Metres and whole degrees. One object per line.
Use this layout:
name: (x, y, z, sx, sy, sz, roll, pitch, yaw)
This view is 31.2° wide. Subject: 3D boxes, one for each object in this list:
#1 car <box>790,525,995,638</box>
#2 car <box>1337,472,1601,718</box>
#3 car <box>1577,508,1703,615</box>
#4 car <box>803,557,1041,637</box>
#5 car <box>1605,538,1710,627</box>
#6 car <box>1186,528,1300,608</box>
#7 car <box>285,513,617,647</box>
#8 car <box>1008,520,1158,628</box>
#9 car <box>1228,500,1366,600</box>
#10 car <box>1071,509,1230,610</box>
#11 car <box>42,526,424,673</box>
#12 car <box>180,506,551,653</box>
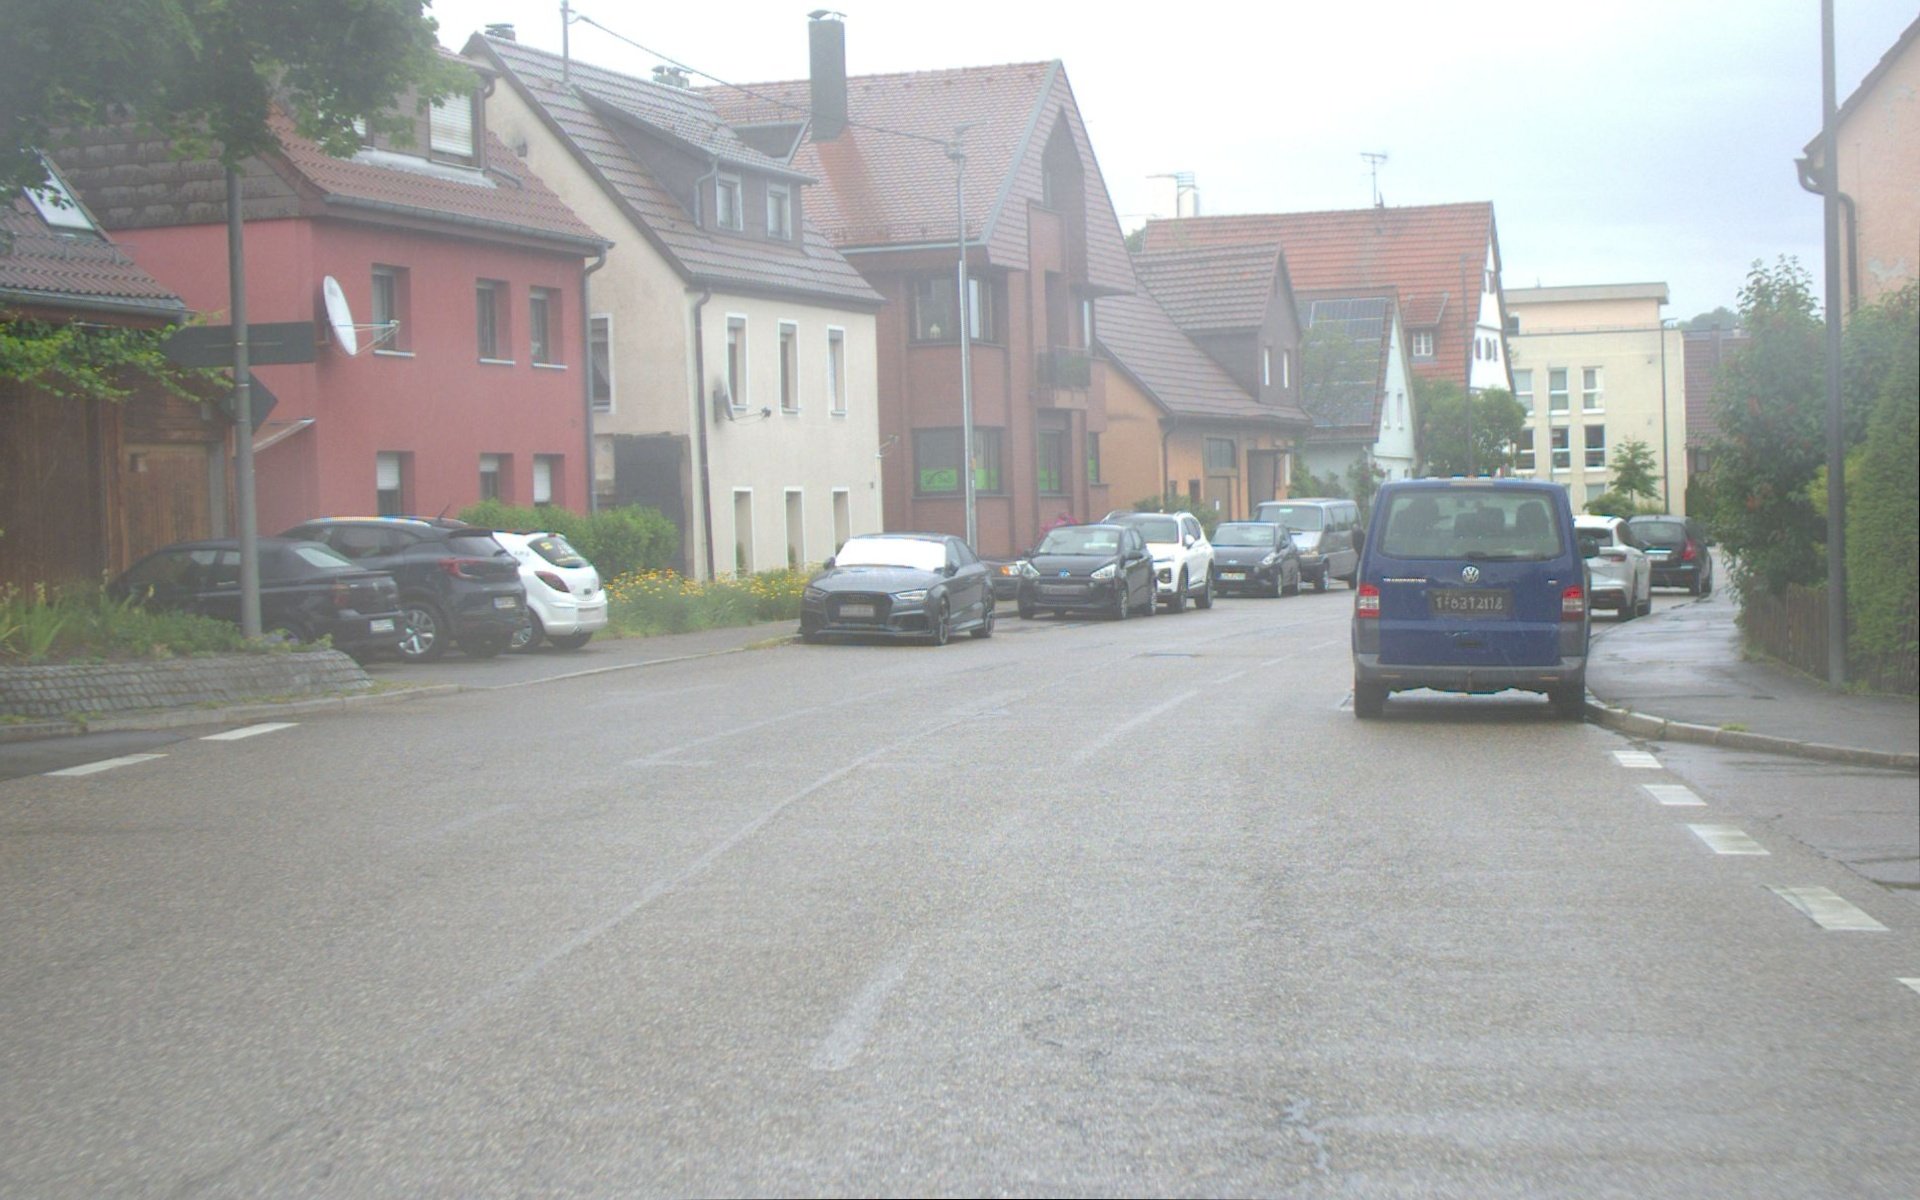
car: (-0.815, -0.275, 44.329, 1.627, 1.351, 4.108, 1, 2, 14)
car: (4.219, -0.094, 29.131, 1.931, 1.896, 4.793, 1, 1, 5)
car: (10.640, -0.616, 53.585, 1.803, 1.589, 4.609, 0, 1, 13)
car: (-0.733, -0.054, 66.320, 4.177, 1.398, 1.787, -1, 1, 22)
car: (14.252, -0.372, 70.114, 1.751, 1.704, 3.997, -1, 1, 16)
car: (5.617, -0.655, 67.930, 1.579, 1.492, 3.565, -1, 1, 16)
car: (-5.949, -0.238, 40.278, 3.464, 1.474, 1.589, -1, 1, 17)
car: (1.969, -0.433, 54.247, 1.606, 1.612, 3.274, -1, 1, 16)
car: (7.191, -1.073, 72.976, 1.823, 2.007, 5.210, -1, 1, 18)
car: (3.315, -0.717, 58.915, 1.765, 1.613, 4.653, -1, 1, 15)
car: (-7.448, -0.010, 35.306, 3.449, 1.413, 1.631, -1, 1, 17)
car: (-6.568, -0.259, 38.070, 3.579, 1.501, 1.854, 2, 2, 19)
